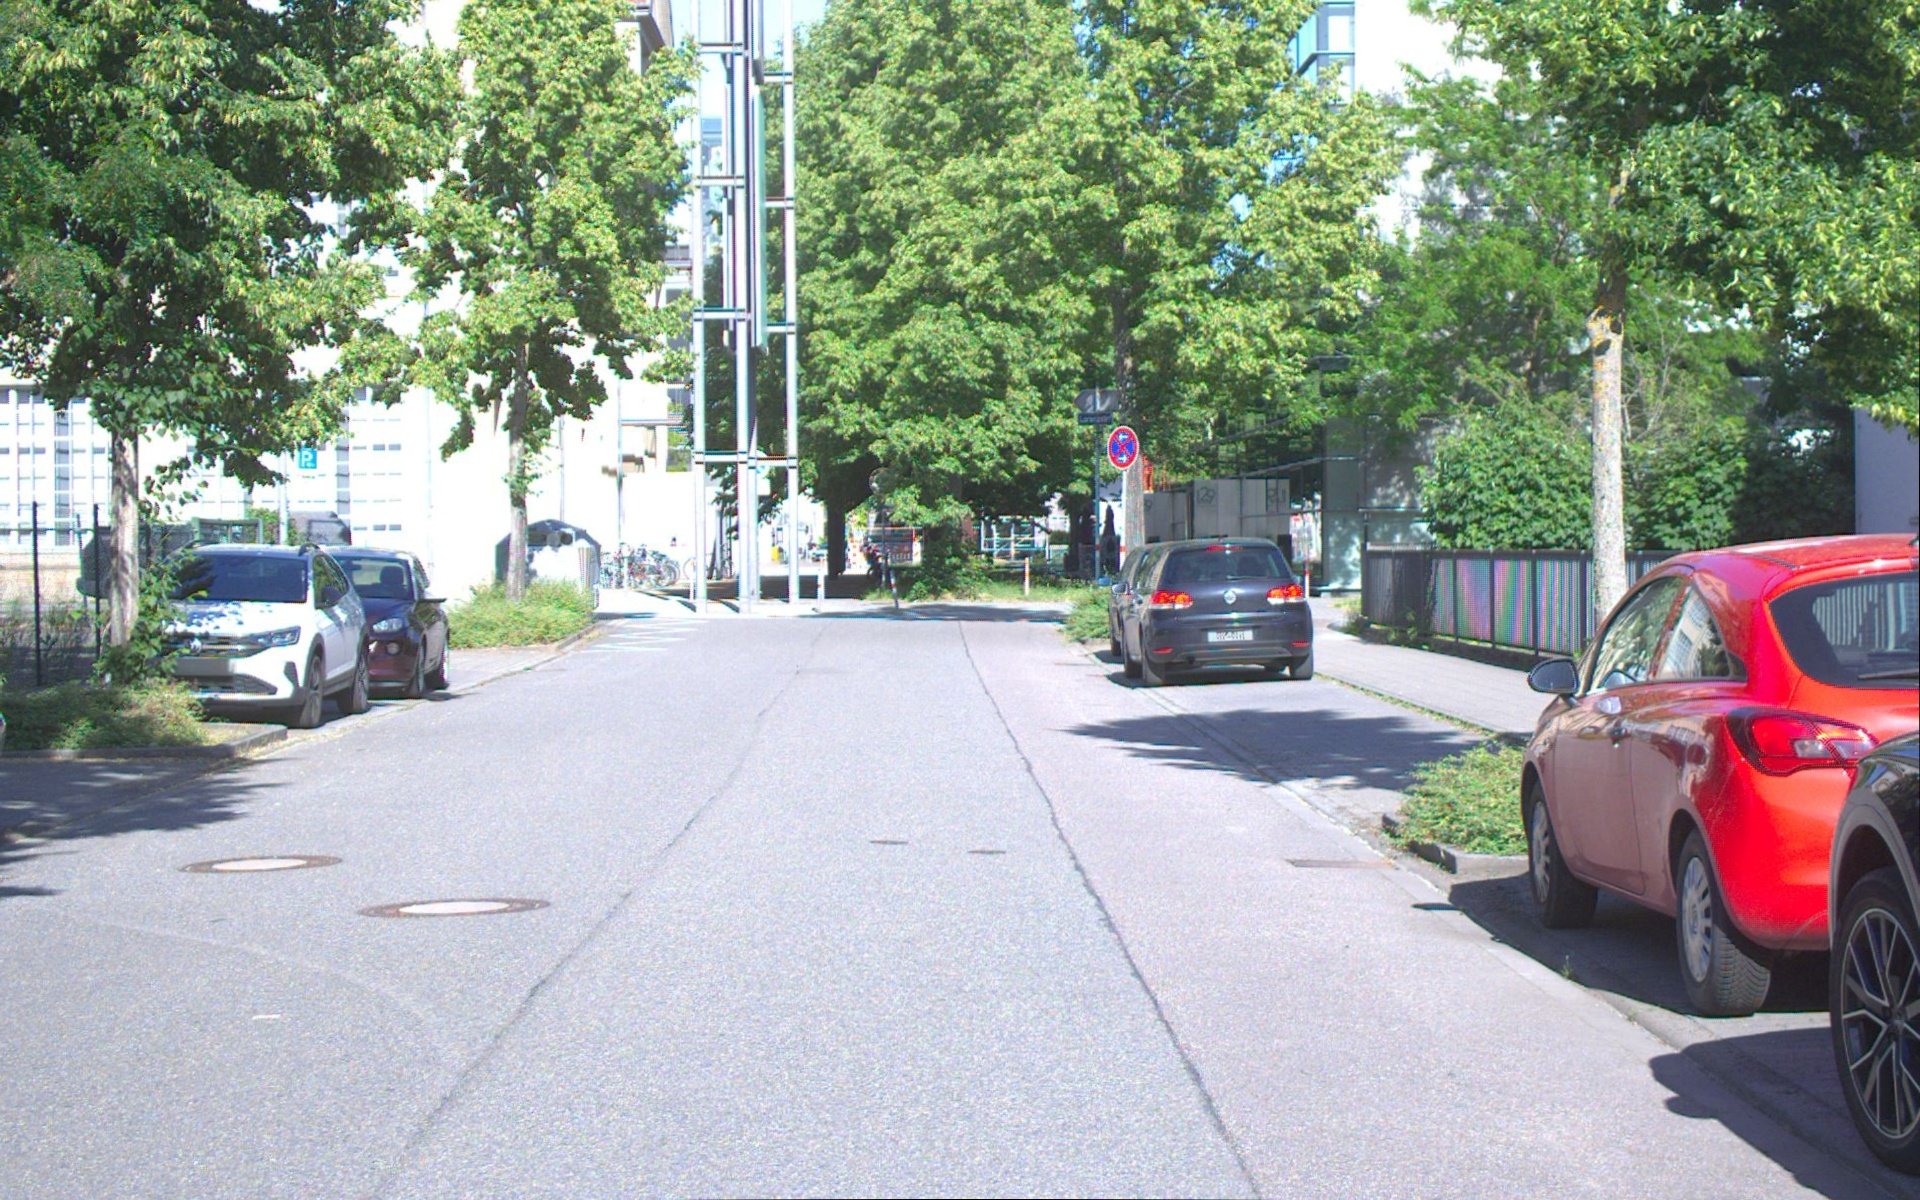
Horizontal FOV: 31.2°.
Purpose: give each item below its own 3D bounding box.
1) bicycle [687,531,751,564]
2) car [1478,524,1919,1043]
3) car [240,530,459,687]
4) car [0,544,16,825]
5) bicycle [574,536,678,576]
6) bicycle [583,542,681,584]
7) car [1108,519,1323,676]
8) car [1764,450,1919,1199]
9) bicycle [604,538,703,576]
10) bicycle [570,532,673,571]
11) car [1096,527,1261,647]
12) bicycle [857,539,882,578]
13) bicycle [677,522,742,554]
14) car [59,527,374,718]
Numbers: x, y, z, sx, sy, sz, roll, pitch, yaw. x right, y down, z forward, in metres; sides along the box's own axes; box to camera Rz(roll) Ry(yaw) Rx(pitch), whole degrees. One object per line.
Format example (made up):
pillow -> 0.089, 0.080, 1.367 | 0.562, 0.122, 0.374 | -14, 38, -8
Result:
bicycle -> -7.976, -1.748, 113.945 | 2.058, 1.062, 0.506 | 0, 1, 2
car -> 3.017, 0.499, 12.062 | 1.675, 1.499, 3.847 | -1, 1, -2
car -> -6.112, 0.053, 34.765 | 1.717, 1.469, 3.547 | 1, 1, -3
car -> -5.899, 0.455, 16.028 | 1.840, 1.469, 4.360 | 1, 1, -1
bicycle -> -9.078, -1.204, 93.614 | 2.800, 1.059, 0.719 | 0, 1, -5
bicycle -> -9.577, -1.089, 100.435 | 2.800, 1.147, 0.719 | -1, 1, -5
car -> 2.623, -0.072, 36.138 | 1.783, 1.510, 4.001 | -1, 1, -2
car -> 3.040, 0.494, 6.579 | 1.900, 1.677, 4.411 | -2, 1, 0
bicycle -> -8.744, -1.232, 98.083 | 2.800, 1.059, 0.719 | 0, 1, -5
bicycle -> -9.368, -1.347, 95.184 | 2.800, 1.059, 0.719 | 0, 1, 0
car -> 2.666, -0.180, 42.758 | 1.746, 1.417, 4.424 | 0, 1, 0
bicycle -> -2.822, -1.309, 107.406 | 0.619, 1.193, 2.132 | -1, 1, -6
bicycle -> -8.240, -2.040, 113.125 | 2.058, 1.062, 0.506 | 0, 1, 2
car -> -6.208, 0.144, 29.122 | 1.840, 1.469, 4.002 | 1, 1, -1
